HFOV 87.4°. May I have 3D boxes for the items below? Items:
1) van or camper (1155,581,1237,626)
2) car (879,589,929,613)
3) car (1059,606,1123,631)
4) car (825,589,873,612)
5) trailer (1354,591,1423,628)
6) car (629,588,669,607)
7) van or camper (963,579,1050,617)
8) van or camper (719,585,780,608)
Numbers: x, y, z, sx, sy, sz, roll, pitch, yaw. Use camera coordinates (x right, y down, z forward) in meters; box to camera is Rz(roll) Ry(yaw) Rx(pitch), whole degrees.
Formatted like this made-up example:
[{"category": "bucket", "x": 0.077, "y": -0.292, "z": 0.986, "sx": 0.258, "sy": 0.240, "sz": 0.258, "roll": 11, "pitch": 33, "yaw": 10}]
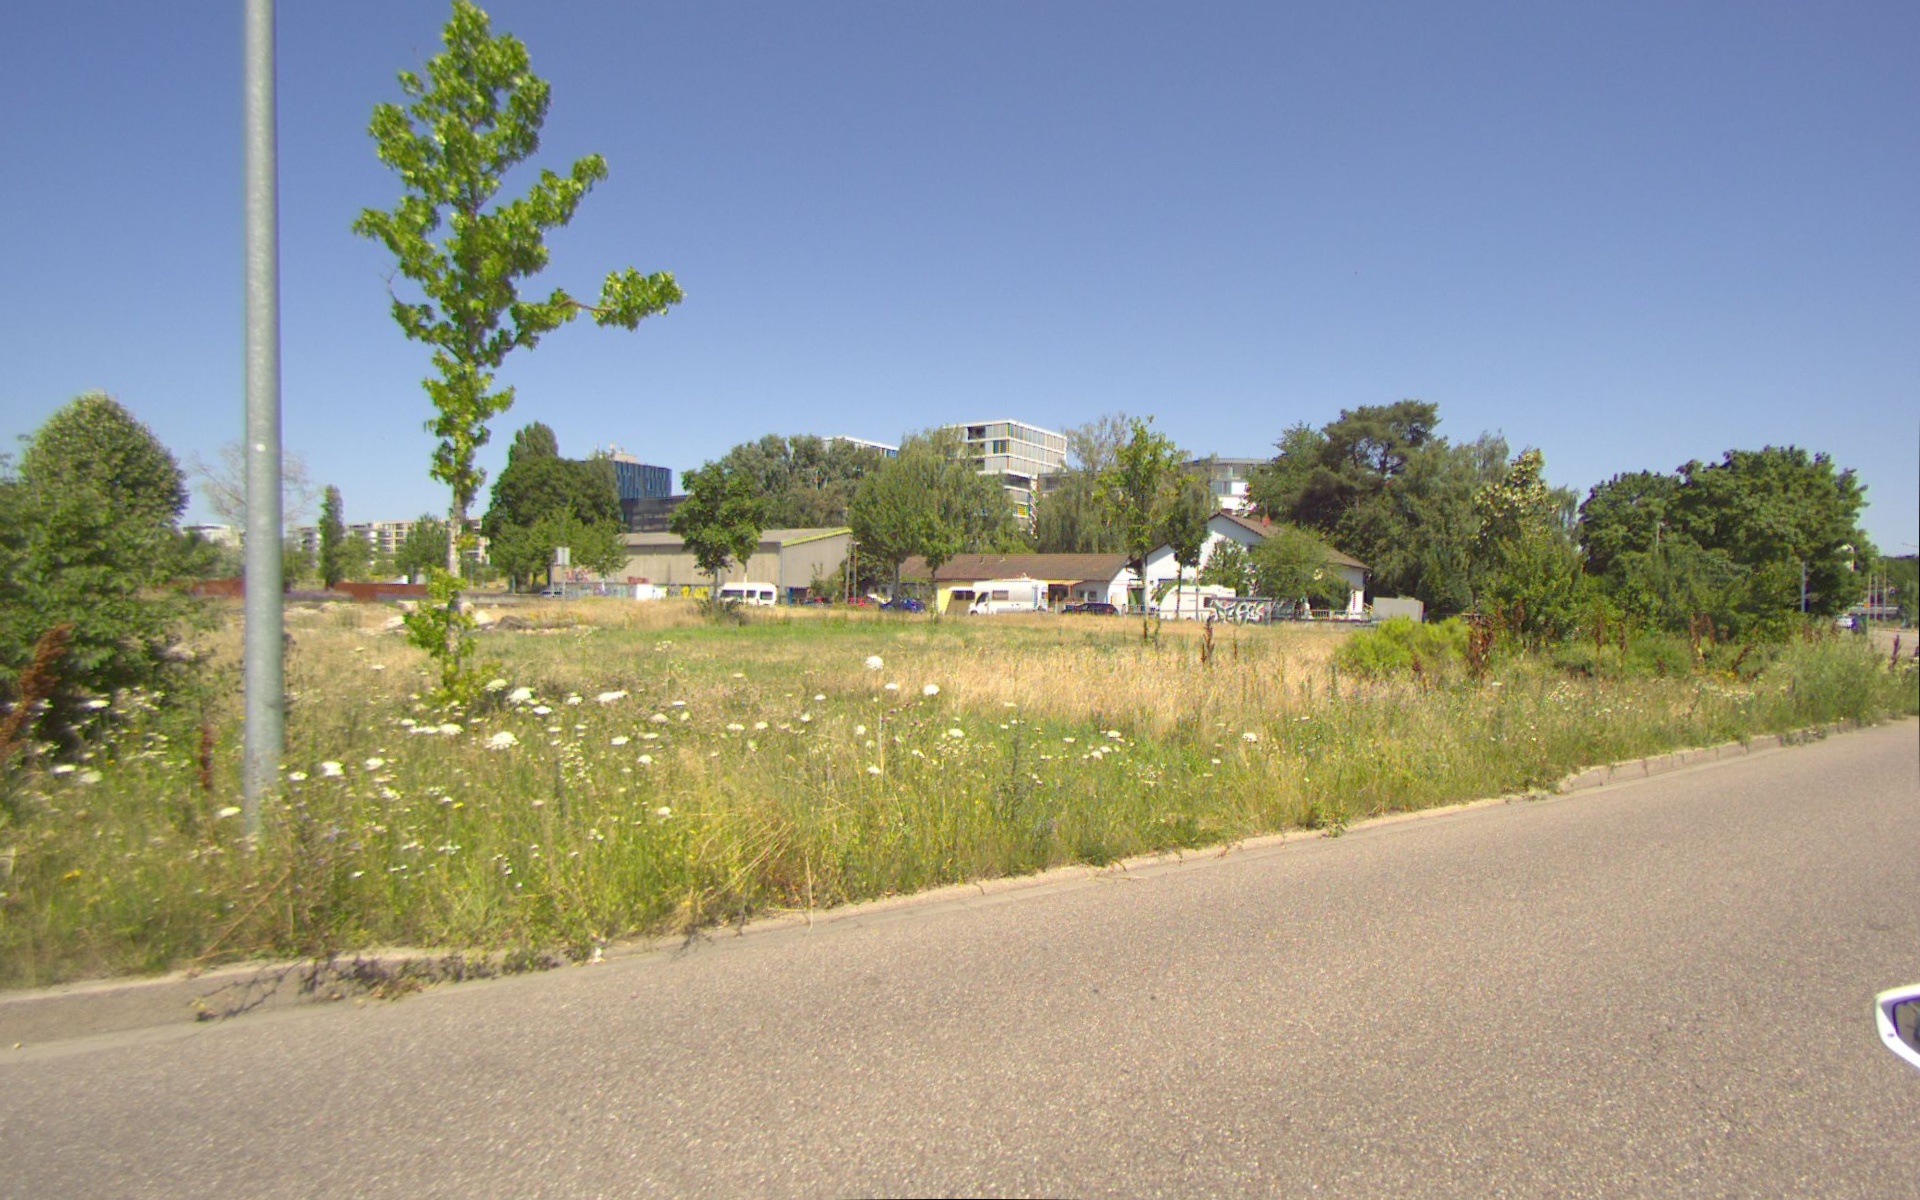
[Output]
[{"category": "van or camper", "x": 15.159, "y": 0.195, "z": 64.539, "sx": 4.393, "sy": 2.626, "sz": 2.484, "roll": 3, "pitch": 2, "yaw": 36}, {"category": "car", "x": -4.327, "y": 0.088, "z": 77.658, "sx": 3.518, "sy": 1.795, "sz": 1.753, "roll": 1, "pitch": 0, "yaw": 33}, {"category": "car", "x": 8.971, "y": 1.263, "z": 68.940, "sx": 3.937, "sy": 1.573, "sz": 1.907, "roll": 1, "pitch": 0, "yaw": 38}, {"category": "car", "x": -8.959, "y": 0.031, "z": 80.770, "sx": 3.518, "sy": 1.795, "sz": 1.753, "roll": 1, "pitch": 0, "yaw": 33}, {"category": "trailer", "x": 24.880, "y": 0.527, "z": 58.312, "sx": 3.369, "sy": 2.073, "sz": 1.754, "roll": 1, "pitch": 0, "yaw": 36}, {"category": "car", "x": -29.516, "y": -0.251, "z": 95.394, "sx": 3.518, "sy": 1.795, "sz": 1.753, "roll": 1, "pitch": 0, "yaw": 33}, {"category": "van or camper", "x": 3.346, "y": -0.186, "z": 72.722, "sx": 5.870, "sy": 2.628, "sz": 2.464, "roll": 1, "pitch": 0, "yaw": 35}, {"category": "van or camper", "x": -18.352, "y": -0.339, "z": 87.313, "sx": 4.972, "sy": 1.905, "sz": 2.352, "roll": 1, "pitch": 0, "yaw": 33}]
